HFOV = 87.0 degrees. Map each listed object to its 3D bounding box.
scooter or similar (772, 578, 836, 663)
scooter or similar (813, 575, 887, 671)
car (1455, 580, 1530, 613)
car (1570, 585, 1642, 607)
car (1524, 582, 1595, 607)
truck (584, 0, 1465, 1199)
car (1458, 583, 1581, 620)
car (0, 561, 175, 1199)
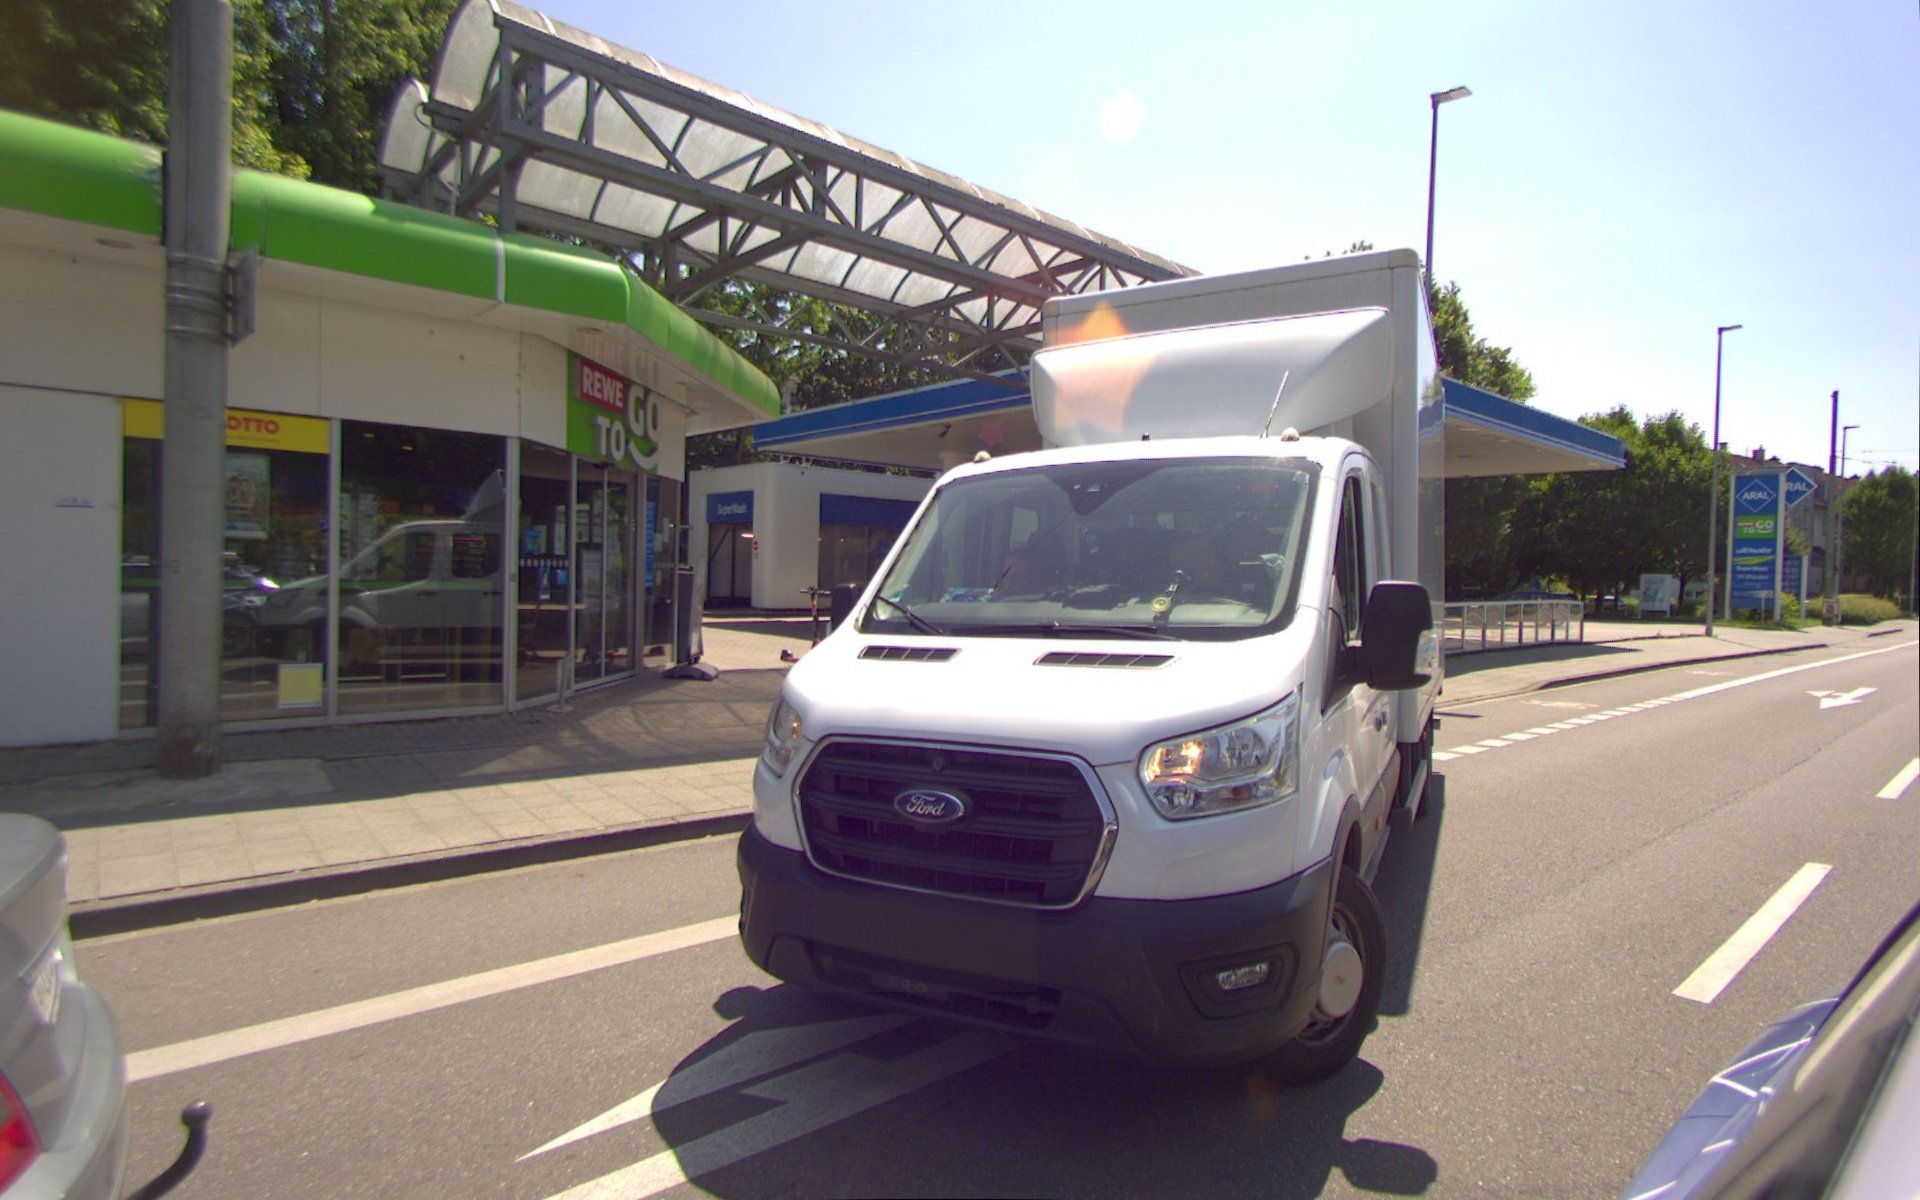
[{"bbox_3d":[-2.297,0.276,14.853,0.377,1.191,1.137,0,1,-40],"label":"scooter or similar"},{"bbox_3d":[-1.529,0.298,13.958,0.404,1.256,1.176,0,1,-40],"label":"scooter or similar"},{"bbox_3d":[29.383,-0.237,55.831,4.329,1.683,2.000,-1,2,-37],"label":"car"},{"bbox_3d":[49.471,-0.345,77.563,1.961,1.540,4.229,0,1,-33],"label":"car"},{"bbox_3d":[43.550,-0.434,73.618,1.959,1.708,4.007,1,1,-26],"label":"car"},{"bbox_3d":[1.625,-0.289,6.238,2.405,3.433,7.756,2,1,28],"label":"truck"},{"bbox_3d":[23.326,0.042,42.306,4.071,1.439,1.716,1,1,7],"label":"car"},{"bbox_3d":[-3.122,0.671,0.424,4.340,1.467,1.799,0,2,-41],"label":"car"}]
